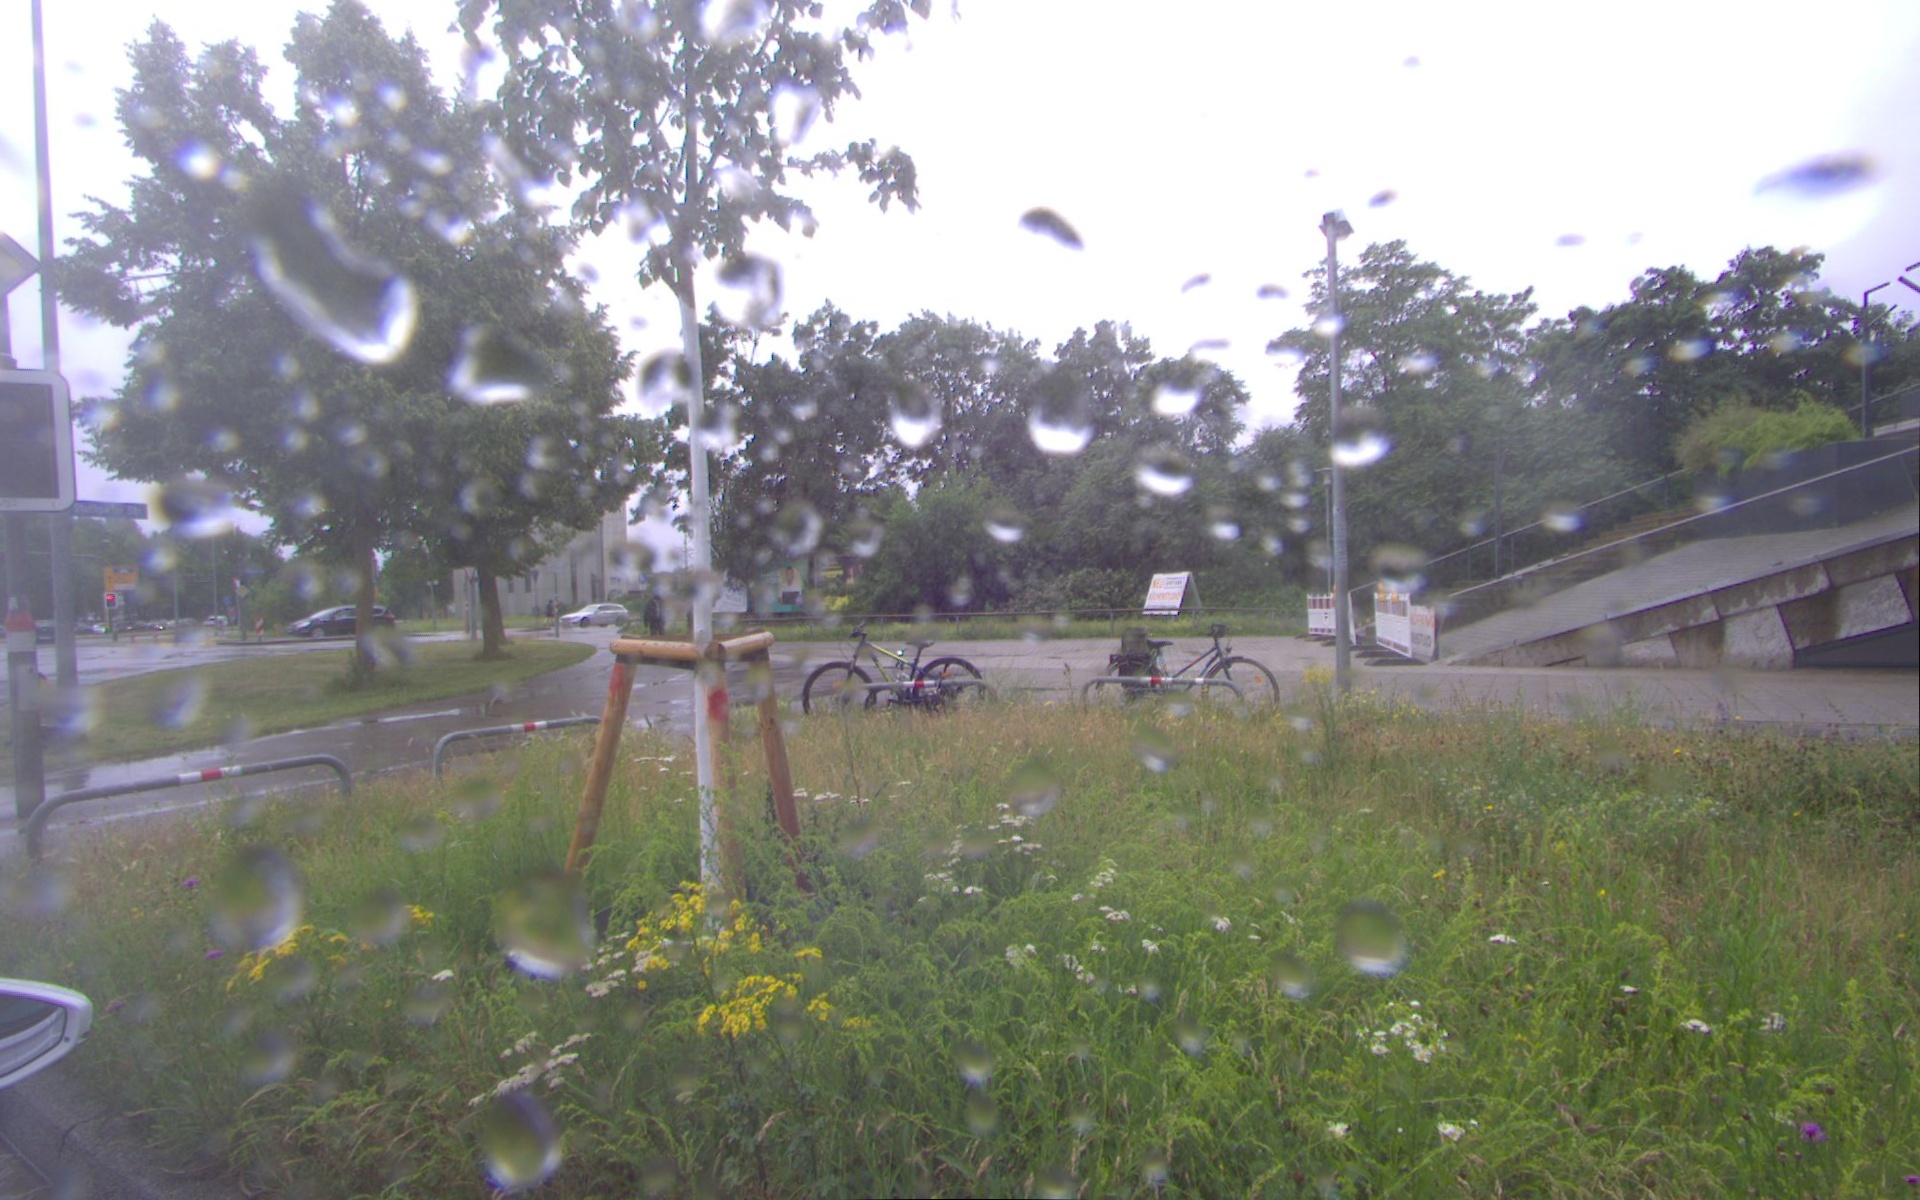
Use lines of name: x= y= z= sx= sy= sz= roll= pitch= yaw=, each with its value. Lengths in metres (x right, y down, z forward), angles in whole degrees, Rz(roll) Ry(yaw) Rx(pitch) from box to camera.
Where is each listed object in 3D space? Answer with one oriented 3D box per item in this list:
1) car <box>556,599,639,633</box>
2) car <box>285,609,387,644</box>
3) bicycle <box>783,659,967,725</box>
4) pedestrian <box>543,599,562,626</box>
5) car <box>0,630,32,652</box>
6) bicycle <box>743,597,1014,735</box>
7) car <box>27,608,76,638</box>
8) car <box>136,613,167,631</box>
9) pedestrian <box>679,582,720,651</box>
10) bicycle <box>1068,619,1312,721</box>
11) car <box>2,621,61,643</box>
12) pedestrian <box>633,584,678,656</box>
car: x=-22.799 y=0.984 z=63.165 sx=1.763 sy=1.836 sz=4.809 roll=0 pitch=3 yaw=32
car: x=-31.094 y=1.336 z=49.978 sx=1.769 sy=1.668 sz=3.968 roll=-2 pitch=-2 yaw=41
bicycle: x=-0.824 y=0.893 z=9.848 sx=1.771 sy=0.566 sz=0.320 roll=-1 pitch=1 yaw=-17
pedestrian: x=-27.227 y=0.867 z=66.901 sx=0.705 sy=1.794 sz=0.948 roll=-1 pitch=-2 yaw=42
car: x=-76.636 y=3.273 z=79.542 sx=1.744 sy=1.766 sz=4.867 roll=0 pitch=-2 yaw=-7
bicycle: x=-0.756 y=0.585 z=9.457 sx=2.480 sy=1.205 sz=0.552 roll=-1 pitch=1 yaw=-17
car: x=-47.662 y=1.198 z=52.530 sx=3.217 sy=1.512 sz=1.678 roll=0 pitch=1 yaw=44
car: x=-95.173 y=2.570 z=117.881 sx=1.763 sy=2.039 sz=3.665 roll=0 pitch=-2 yaw=-20
pedestrian: x=-6.969 y=0.445 z=26.831 sx=0.906 sy=1.807 sz=0.808 roll=0 pitch=-1 yaw=-3
bicycle: x=2.113 y=0.616 z=9.308 sx=2.130 sy=0.858 sz=0.634 roll=-1 pitch=0 yaw=27
car: x=-78.998 y=2.729 z=85.265 sx=1.964 sy=1.772 sz=3.996 roll=0 pitch=-2 yaw=-14
pedestrian: x=-7.717 y=0.511 z=25.418 sx=0.906 sy=1.807 sz=0.808 roll=0 pitch=-1 yaw=-3
